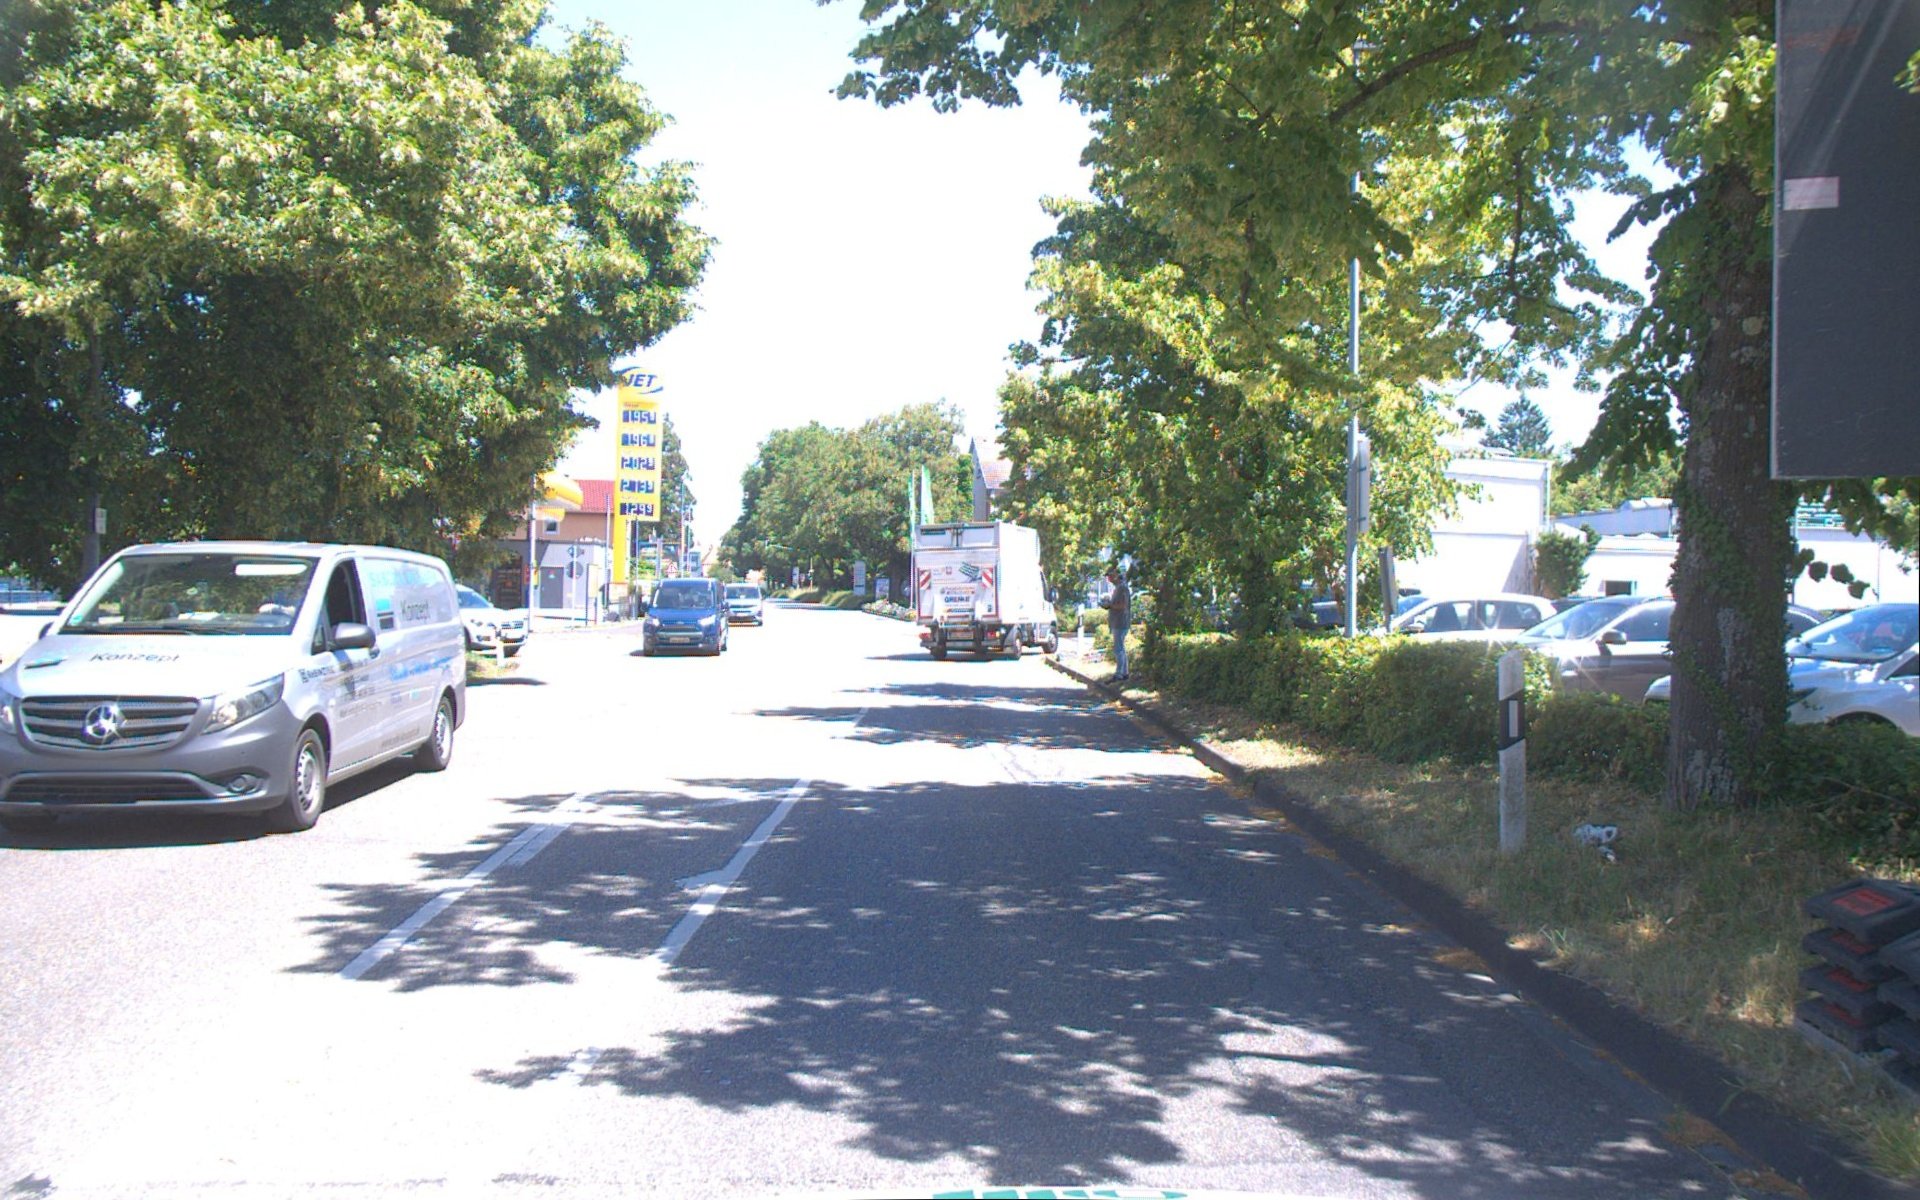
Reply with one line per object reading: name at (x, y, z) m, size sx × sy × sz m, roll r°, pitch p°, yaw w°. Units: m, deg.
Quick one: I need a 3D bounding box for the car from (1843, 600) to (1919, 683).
car at (18.150, 0.770, 29.865) m, size 3.526 × 1.441 × 1.670 m, roll 2°, pitch 0°, yaw -4°

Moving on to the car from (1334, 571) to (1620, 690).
car at (6.928, 0.390, 22.326) m, size 3.333 × 1.532 × 1.579 m, roll 1°, pitch 1°, yaw -8°

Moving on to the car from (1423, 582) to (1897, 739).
car at (7.214, 0.607, 17.265) m, size 4.228 × 1.507 × 1.807 m, roll 1°, pitch 0°, yaw -7°

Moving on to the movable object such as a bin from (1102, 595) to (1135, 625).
movable object such as a bin at (7.922, 0.510, 82.650) m, size 1.531 × 1.447 × 0.702 m, roll -2°, pitch 0°, yaw -1°

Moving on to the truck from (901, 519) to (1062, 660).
truck at (0.623, -0.272, 38.517) m, size 2.363 × 3.000 × 5.958 m, roll 1°, pitch 1°, yaw 15°

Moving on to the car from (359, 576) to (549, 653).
car at (-11.957, 0.298, 39.053) m, size 4.154 × 1.702 × 1.972 m, roll 1°, pitch 1°, yaw 29°

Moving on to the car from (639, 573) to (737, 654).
car at (-6.437, 0.290, 39.623) m, size 1.787 × 1.812 × 4.779 m, roll -1°, pitch 0°, yaw -3°

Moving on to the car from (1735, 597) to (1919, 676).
car at (18.556, 0.765, 34.774) m, size 3.649 × 1.530 × 1.817 m, roll 2°, pitch 0°, yaw -4°

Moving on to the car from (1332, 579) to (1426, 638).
car at (14.344, 0.296, 56.795) m, size 1.673 × 1.923 × 4.250 m, roll 1°, pitch 0°, yaw -7°

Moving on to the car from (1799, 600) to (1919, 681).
car at (18.661, 0.803, 32.435) m, size 3.526 × 1.483 × 1.744 m, roll 2°, pitch 0°, yaw -4°

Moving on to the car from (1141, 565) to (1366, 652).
car at (6.156, 0.168, 35.089) m, size 4.421 × 1.697 × 1.894 m, roll 1°, pitch 0°, yaw 0°

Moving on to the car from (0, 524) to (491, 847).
car at (-5.035, 0.481, 12.245) m, size 1.840 × 1.866 × 5.296 m, roll 0°, pitch 0°, yaw -3°

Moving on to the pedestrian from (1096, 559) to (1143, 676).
pedestrian at (2.515, 0.277, 26.134) m, size 0.714 × 1.820 × 0.621 m, roll 1°, pitch -1°, yaw 5°

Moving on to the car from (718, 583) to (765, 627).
car at (-9.319, 0.187, 70.852) m, size 1.761 × 1.803 × 4.360 m, roll 0°, pitch 1°, yaw -5°

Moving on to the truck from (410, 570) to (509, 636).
truck at (-21.145, 0.122, 70.241) m, size 2.188 × 2.644 × 6.731 m, roll 1°, pitch 0°, yaw -1°

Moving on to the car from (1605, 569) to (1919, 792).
car at (7.118, 0.556, 11.959) m, size 4.149 × 1.435 × 1.950 m, roll 1°, pitch 0°, yaw -7°

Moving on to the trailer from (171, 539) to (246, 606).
trailer at (-38.597, -1.397, 85.122) m, size 1.830 × 3.275 × 5.903 m, roll 1°, pitch 0°, yaw -8°

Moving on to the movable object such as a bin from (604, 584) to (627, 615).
movable object such as a bin at (-18.433, -0.030, 88.564) m, size 0.934 × 1.543 × 1.426 m, roll 5°, pitch 1°, yaw -8°

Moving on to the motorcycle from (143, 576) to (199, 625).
motorcycle at (-33.384, 0.025, 70.045) m, size 0.819 × 2.049 × 2.794 m, roll 1°, pitch 0°, yaw 4°

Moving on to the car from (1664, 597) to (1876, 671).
car at (18.225, 0.759, 37.317) m, size 3.938 × 1.503 × 1.727 m, roll 2°, pitch 0°, yaw -3°

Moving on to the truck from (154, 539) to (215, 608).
truck at (-38.076, -1.322, 81.310) m, size 1.811 × 3.299 × 3.184 m, roll 1°, pitch 1°, yaw -8°
